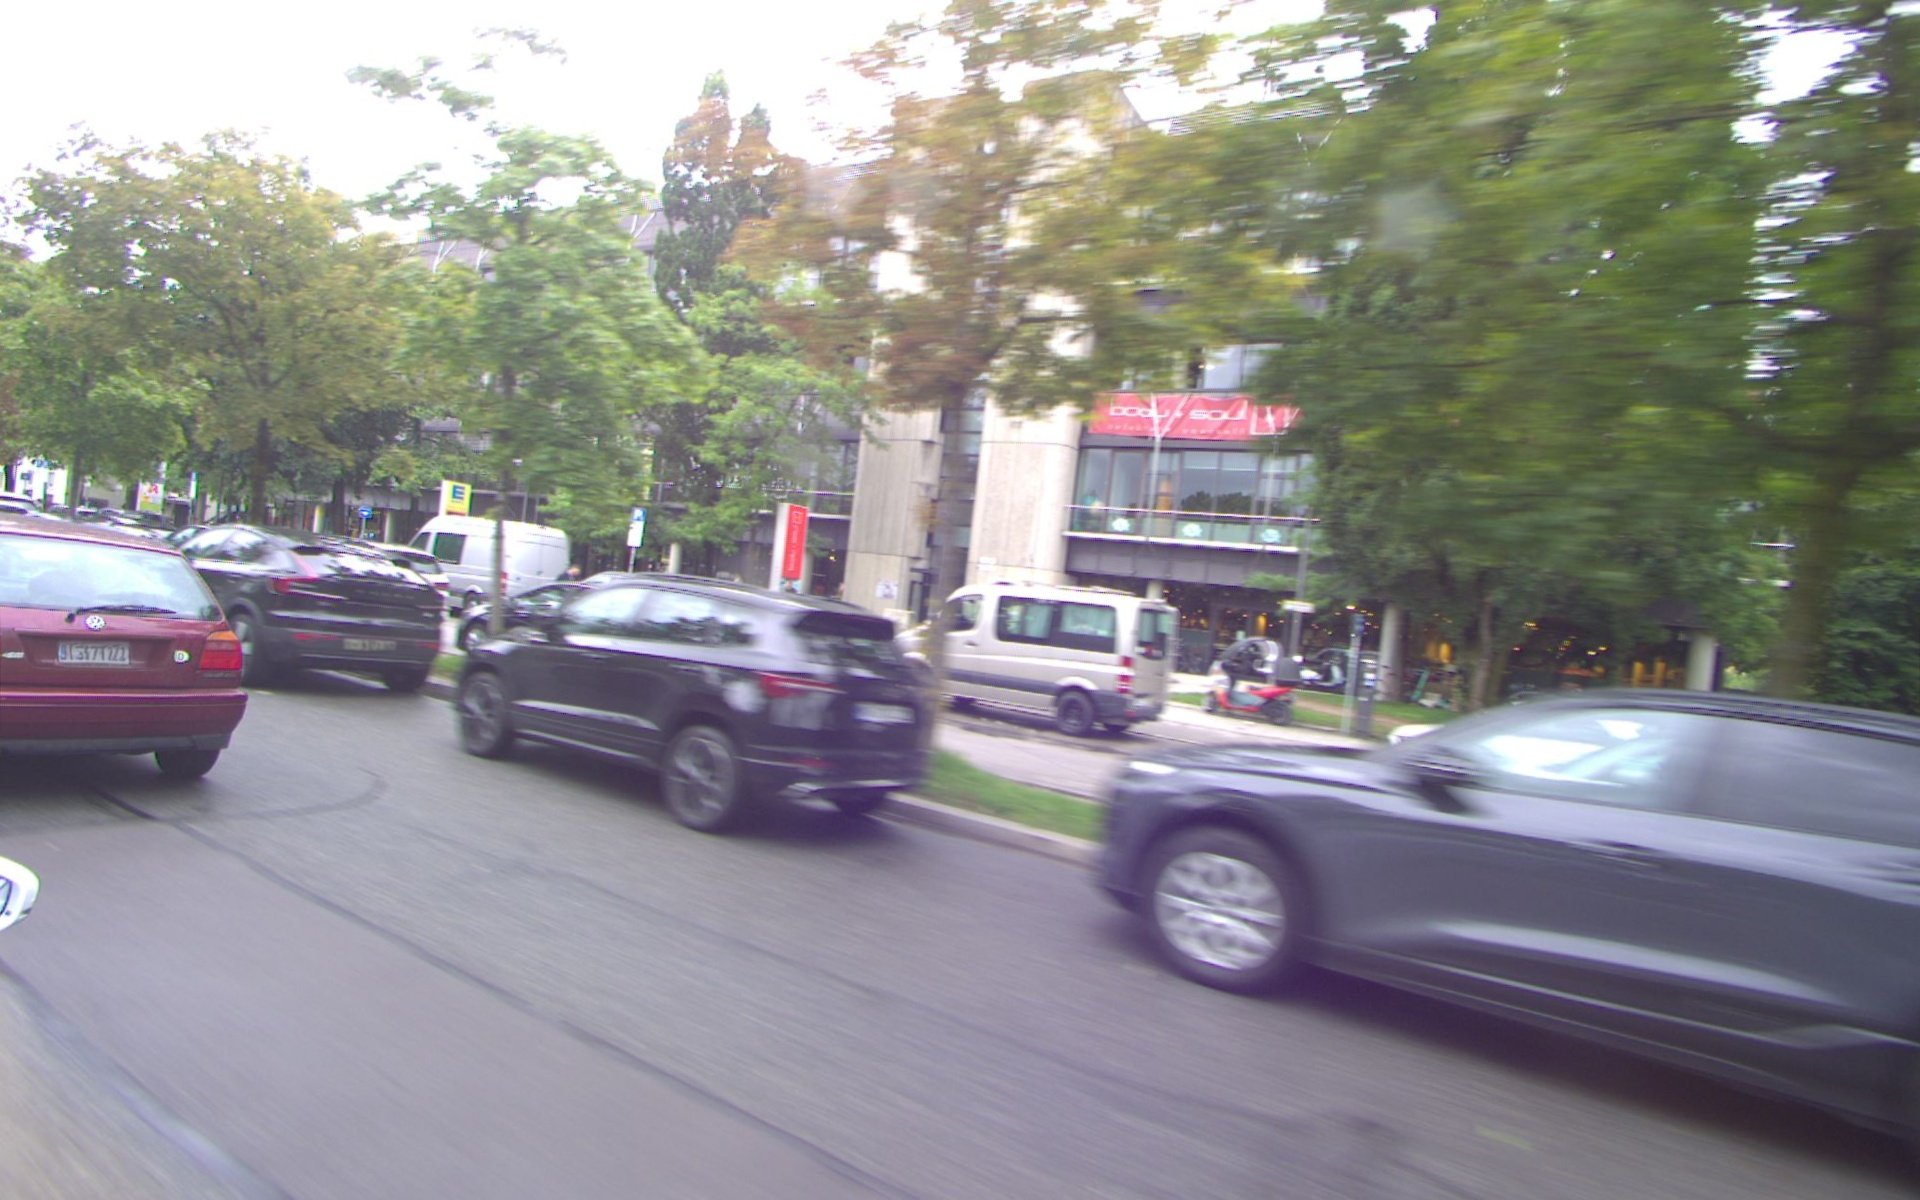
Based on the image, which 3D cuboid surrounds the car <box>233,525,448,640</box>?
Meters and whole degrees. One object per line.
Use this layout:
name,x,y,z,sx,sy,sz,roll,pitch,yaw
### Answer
car,-11.399,-0.339,18.449,3.943,1.605,1.686,7,0,32

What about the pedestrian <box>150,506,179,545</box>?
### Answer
pedestrian,-37.622,-3.530,47.572,0.690,1.727,0.748,7,1,32

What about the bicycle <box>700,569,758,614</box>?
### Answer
bicycle,-8.824,-0.301,38.553,0.783,1.526,2.619,7,0,18

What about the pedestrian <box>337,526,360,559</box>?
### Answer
pedestrian,-34.171,-3.230,56.200,0.686,1.724,0.682,7,-1,31

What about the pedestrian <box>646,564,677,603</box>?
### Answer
pedestrian,-12.997,-0.717,43.764,0.955,1.599,0.689,7,0,32

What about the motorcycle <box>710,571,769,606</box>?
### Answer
motorcycle,-9.505,-0.505,43.337,2.328,1.211,0.947,7,0,31

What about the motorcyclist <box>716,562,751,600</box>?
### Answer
motorcyclist,-9.807,-0.833,43.526,0.968,1.495,0.943,7,1,30

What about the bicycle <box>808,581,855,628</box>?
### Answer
bicycle,-4.598,0.184,36.210,0.783,1.526,2.620,7,0,10

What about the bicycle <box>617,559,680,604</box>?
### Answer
bicycle,-12.411,-0.711,40.165,0.784,1.526,2.617,7,0,23

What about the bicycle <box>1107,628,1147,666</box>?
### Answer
bicycle,5.964,1.681,35.825,0.577,1.219,2.141,7,-1,29

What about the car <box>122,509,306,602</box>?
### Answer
car,-15.646,-0.949,21.052,3.943,1.471,1.686,7,0,32

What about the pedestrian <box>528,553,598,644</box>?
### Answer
pedestrian,-8.894,-0.033,22.554,0.888,1.873,0.877,7,-1,30

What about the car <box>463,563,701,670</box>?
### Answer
car,-7.453,0.297,19.674,4.758,1.471,1.686,7,0,32

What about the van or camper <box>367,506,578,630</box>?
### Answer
van or camper,-12.933,-0.891,26.523,5.858,2.589,2.026,7,0,32

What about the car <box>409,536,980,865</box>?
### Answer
car,-2.195,0.583,7.790,4.318,1.671,1.723,7,0,34

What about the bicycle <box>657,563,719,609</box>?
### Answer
bicycle,-10.602,-0.527,39.332,0.784,1.526,2.617,7,0,23

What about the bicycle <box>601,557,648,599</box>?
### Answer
bicycle,-13.728,-0.886,41.225,0.783,1.526,2.619,7,0,2

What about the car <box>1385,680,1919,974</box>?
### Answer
car,5.755,1.709,8.202,3.931,1.505,1.768,7,-2,29

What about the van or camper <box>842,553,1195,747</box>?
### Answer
van or camper,0.919,0.782,18.057,5.858,2.589,1.996,7,0,32

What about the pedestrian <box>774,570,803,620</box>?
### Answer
pedestrian,-5.377,-0.147,31.537,0.668,1.495,0.396,6,0,39

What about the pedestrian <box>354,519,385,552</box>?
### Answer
pedestrian,-34.277,-3.761,58.431,1.029,1.724,1.018,7,-1,31

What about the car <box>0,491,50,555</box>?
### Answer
car,-28.530,-2.404,29.277,4.701,1.652,1.686,7,0,32

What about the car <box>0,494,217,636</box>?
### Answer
car,-12.531,-0.578,14.126,4.350,1.564,1.767,7,-1,31

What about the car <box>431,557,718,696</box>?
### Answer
car,-5.697,0.364,14.789,3.941,1.497,1.751,7,0,30

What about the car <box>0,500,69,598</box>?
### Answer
car,-17.240,-1.091,17.095,4.436,1.470,1.711,7,-2,30

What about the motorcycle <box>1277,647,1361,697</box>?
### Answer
motorcycle,11.411,2.270,32.026,2.335,1.245,0.870,7,2,25

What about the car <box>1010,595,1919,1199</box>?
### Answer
car,2.805,1.135,4.638,4.741,1.721,1.764,7,0,32

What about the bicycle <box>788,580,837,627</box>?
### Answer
bicycle,-5.320,0.151,36.510,0.783,1.526,2.620,7,0,10

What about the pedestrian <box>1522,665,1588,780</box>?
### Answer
pedestrian,9.840,2.008,16.632,0.720,1.773,0.575,7,0,36

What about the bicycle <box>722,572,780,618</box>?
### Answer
bicycle,-7.926,-0.169,38.312,0.783,1.526,2.619,7,0,18

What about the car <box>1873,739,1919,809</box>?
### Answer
car,17.959,3.245,17.941,1.534,1.165,3.449,7,-2,28

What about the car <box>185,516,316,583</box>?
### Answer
car,-23.196,-1.648,32.863,4.422,1.652,1.687,7,0,30

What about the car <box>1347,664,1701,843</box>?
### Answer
car,7.793,2.010,14.158,3.934,1.671,1.996,7,0,32

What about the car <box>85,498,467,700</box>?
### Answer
car,-7.687,-0.050,11.200,4.350,1.671,1.767,7,-1,31

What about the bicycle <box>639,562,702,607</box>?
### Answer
bicycle,-11.382,-0.598,39.692,0.784,1.526,2.617,7,0,23

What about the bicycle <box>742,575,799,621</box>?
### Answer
bicycle,-7.122,-0.052,37.966,0.783,1.526,2.619,7,0,18

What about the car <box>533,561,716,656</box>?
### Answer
car,-7.821,0.176,23.400,3.941,1.684,1.750,7,0,31

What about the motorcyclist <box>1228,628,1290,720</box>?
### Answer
motorcyclist,6.217,1.516,20.942,0.937,1.762,0.690,7,5,32

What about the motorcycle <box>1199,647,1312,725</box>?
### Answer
motorcycle,6.149,1.767,20.987,2.032,1.309,0.695,7,5,32

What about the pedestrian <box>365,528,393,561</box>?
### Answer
pedestrian,-33.410,-3.164,57.823,0.785,1.724,0.964,7,-1,31

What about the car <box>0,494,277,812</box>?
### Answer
car,-5.935,0.084,5.901,3.884,1.471,1.624,7,0,31

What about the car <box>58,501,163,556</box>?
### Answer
car,-33.062,-2.793,39.129,4.309,1.652,1.687,7,0,30

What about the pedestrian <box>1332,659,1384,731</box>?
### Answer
pedestrian,7.859,1.854,19.863,0.687,1.308,0.731,6,2,36

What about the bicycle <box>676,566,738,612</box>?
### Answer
bicycle,-9.766,-0.402,39.005,0.784,1.526,2.617,7,0,23
